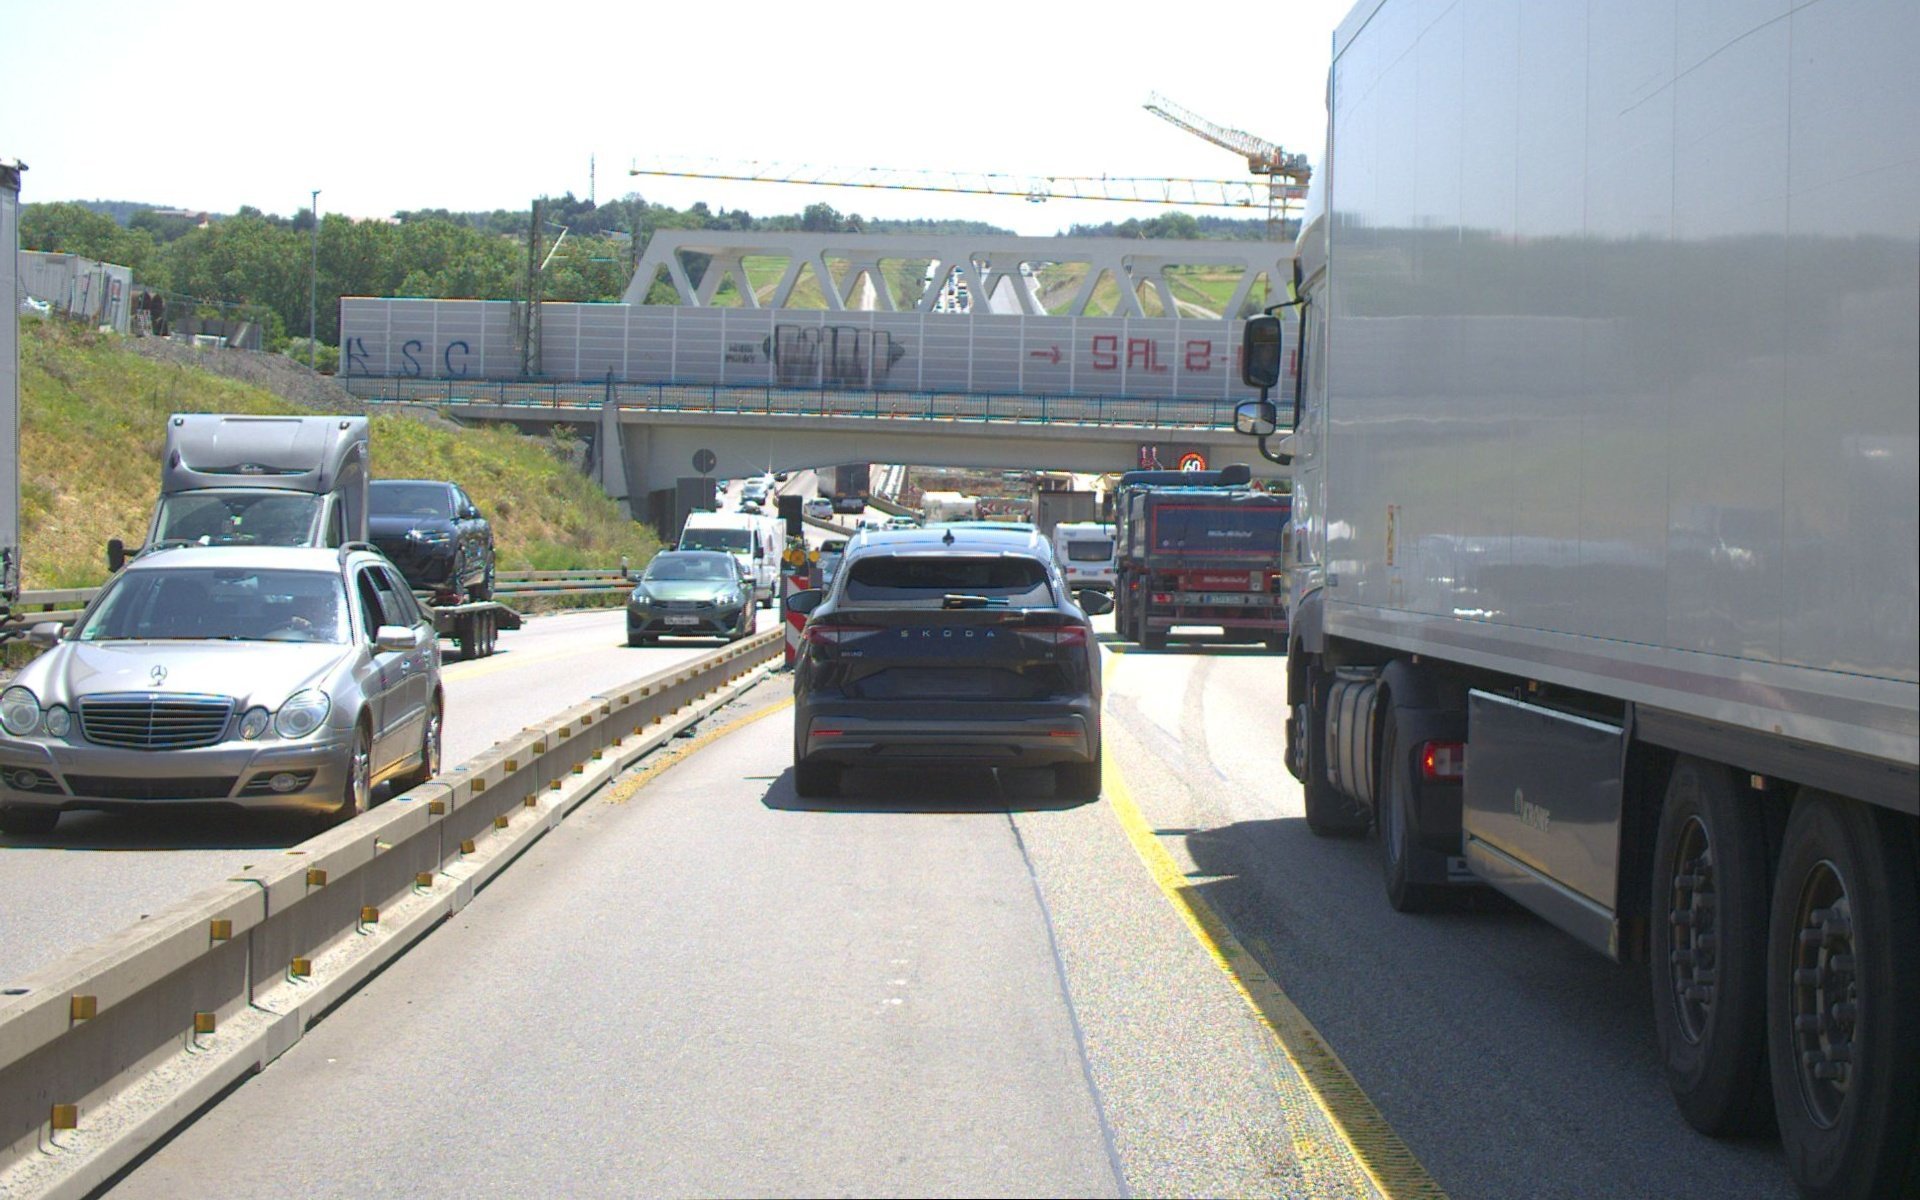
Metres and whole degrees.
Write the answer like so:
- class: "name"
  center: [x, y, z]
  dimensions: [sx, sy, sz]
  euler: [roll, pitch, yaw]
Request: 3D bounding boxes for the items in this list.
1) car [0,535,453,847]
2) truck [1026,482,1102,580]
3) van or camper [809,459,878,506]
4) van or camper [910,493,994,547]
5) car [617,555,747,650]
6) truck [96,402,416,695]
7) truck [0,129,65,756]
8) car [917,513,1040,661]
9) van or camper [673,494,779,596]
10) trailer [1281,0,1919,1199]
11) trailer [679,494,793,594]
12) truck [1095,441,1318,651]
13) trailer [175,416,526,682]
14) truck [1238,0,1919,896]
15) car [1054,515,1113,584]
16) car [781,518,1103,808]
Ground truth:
- class: "car"
  center: [-3.938, 0.398, 18.548]
  dimensions: [1.826, 1.481, 4.196]
  euler: [0, 1, -1]
- class: "truck"
  center: [4.712, -3.127, 157.461]
  dimensions: [3.176, 4.303, 9.258]
  euler: [1, 1, 0]
- class: "van or camper"
  center: [-8.876, -8.904, 261.304]
  dimensions: [3.942, 3.408, 8.409]
  euler: [1, 2, -11]
- class: "van or camper"
  center: [-0.559, -5.286, 226.672]
  dimensions: [3.942, 3.408, 8.409]
  euler: [1, 2, -11]
- class: "car"
  center: [-4.305, 0.011, 53.616]
  dimensions: [1.666, 1.423, 4.000]
  euler: [0, 1, 1]
- class: "truck"
  center: [-7.446, -0.558, 37.029]
  dimensions: [2.268, 2.872, 5.851]
  euler: [1, 1, 0]
- class: "truck"
  center: [-7.568, -0.946, 17.047]
  dimensions: [2.767, 4.074, 13.807]
  euler: [1, 1, -1]
- class: "car"
  center: [0.256, -0.195, 44.365]
  dimensions: [1.475, 1.789, 3.297]
  euler: [2, 1, 1]
- class: "van or camper"
  center: [-5.882, -1.374, 86.940]
  dimensions: [2.216, 2.472, 4.750]
  euler: [1, 1, 1]
- class: "trailer"
  center: [3.065, -0.637, 9.972]
  dimensions: [2.801, 4.044, 14.118]
  euler: [1, 1, 0]
- class: "trailer"
  center: [-5.823, -1.460, 90.452]
  dimensions: [2.216, 2.472, 8.527]
  euler: [1, 1, 1]
- class: "truck"
  center: [3.965, -0.933, 58.315]
  dimensions: [2.814, 3.124, 12.838]
  euler: [1, 1, 0]
- class: "trailer"
  center: [-7.497, -0.662, 44.153]
  dimensions: [2.268, 2.872, 13.043]
  euler: [1, 1, 0]
- class: "truck"
  center: [3.019, -0.801, 17.224]
  dimensions: [2.776, 4.044, 4.905]
  euler: [1, 1, 0]
- class: "car"
  center: [4.193, -1.725, 116.866]
  dimensions: [1.661, 2.262, 3.797]
  euler: [2, 1, -2]
- class: "car"
  center: [-0.125, 0.336, 21.014]
  dimensions: [1.800, 1.615, 3.298]
  euler: [1, 1, -1]
